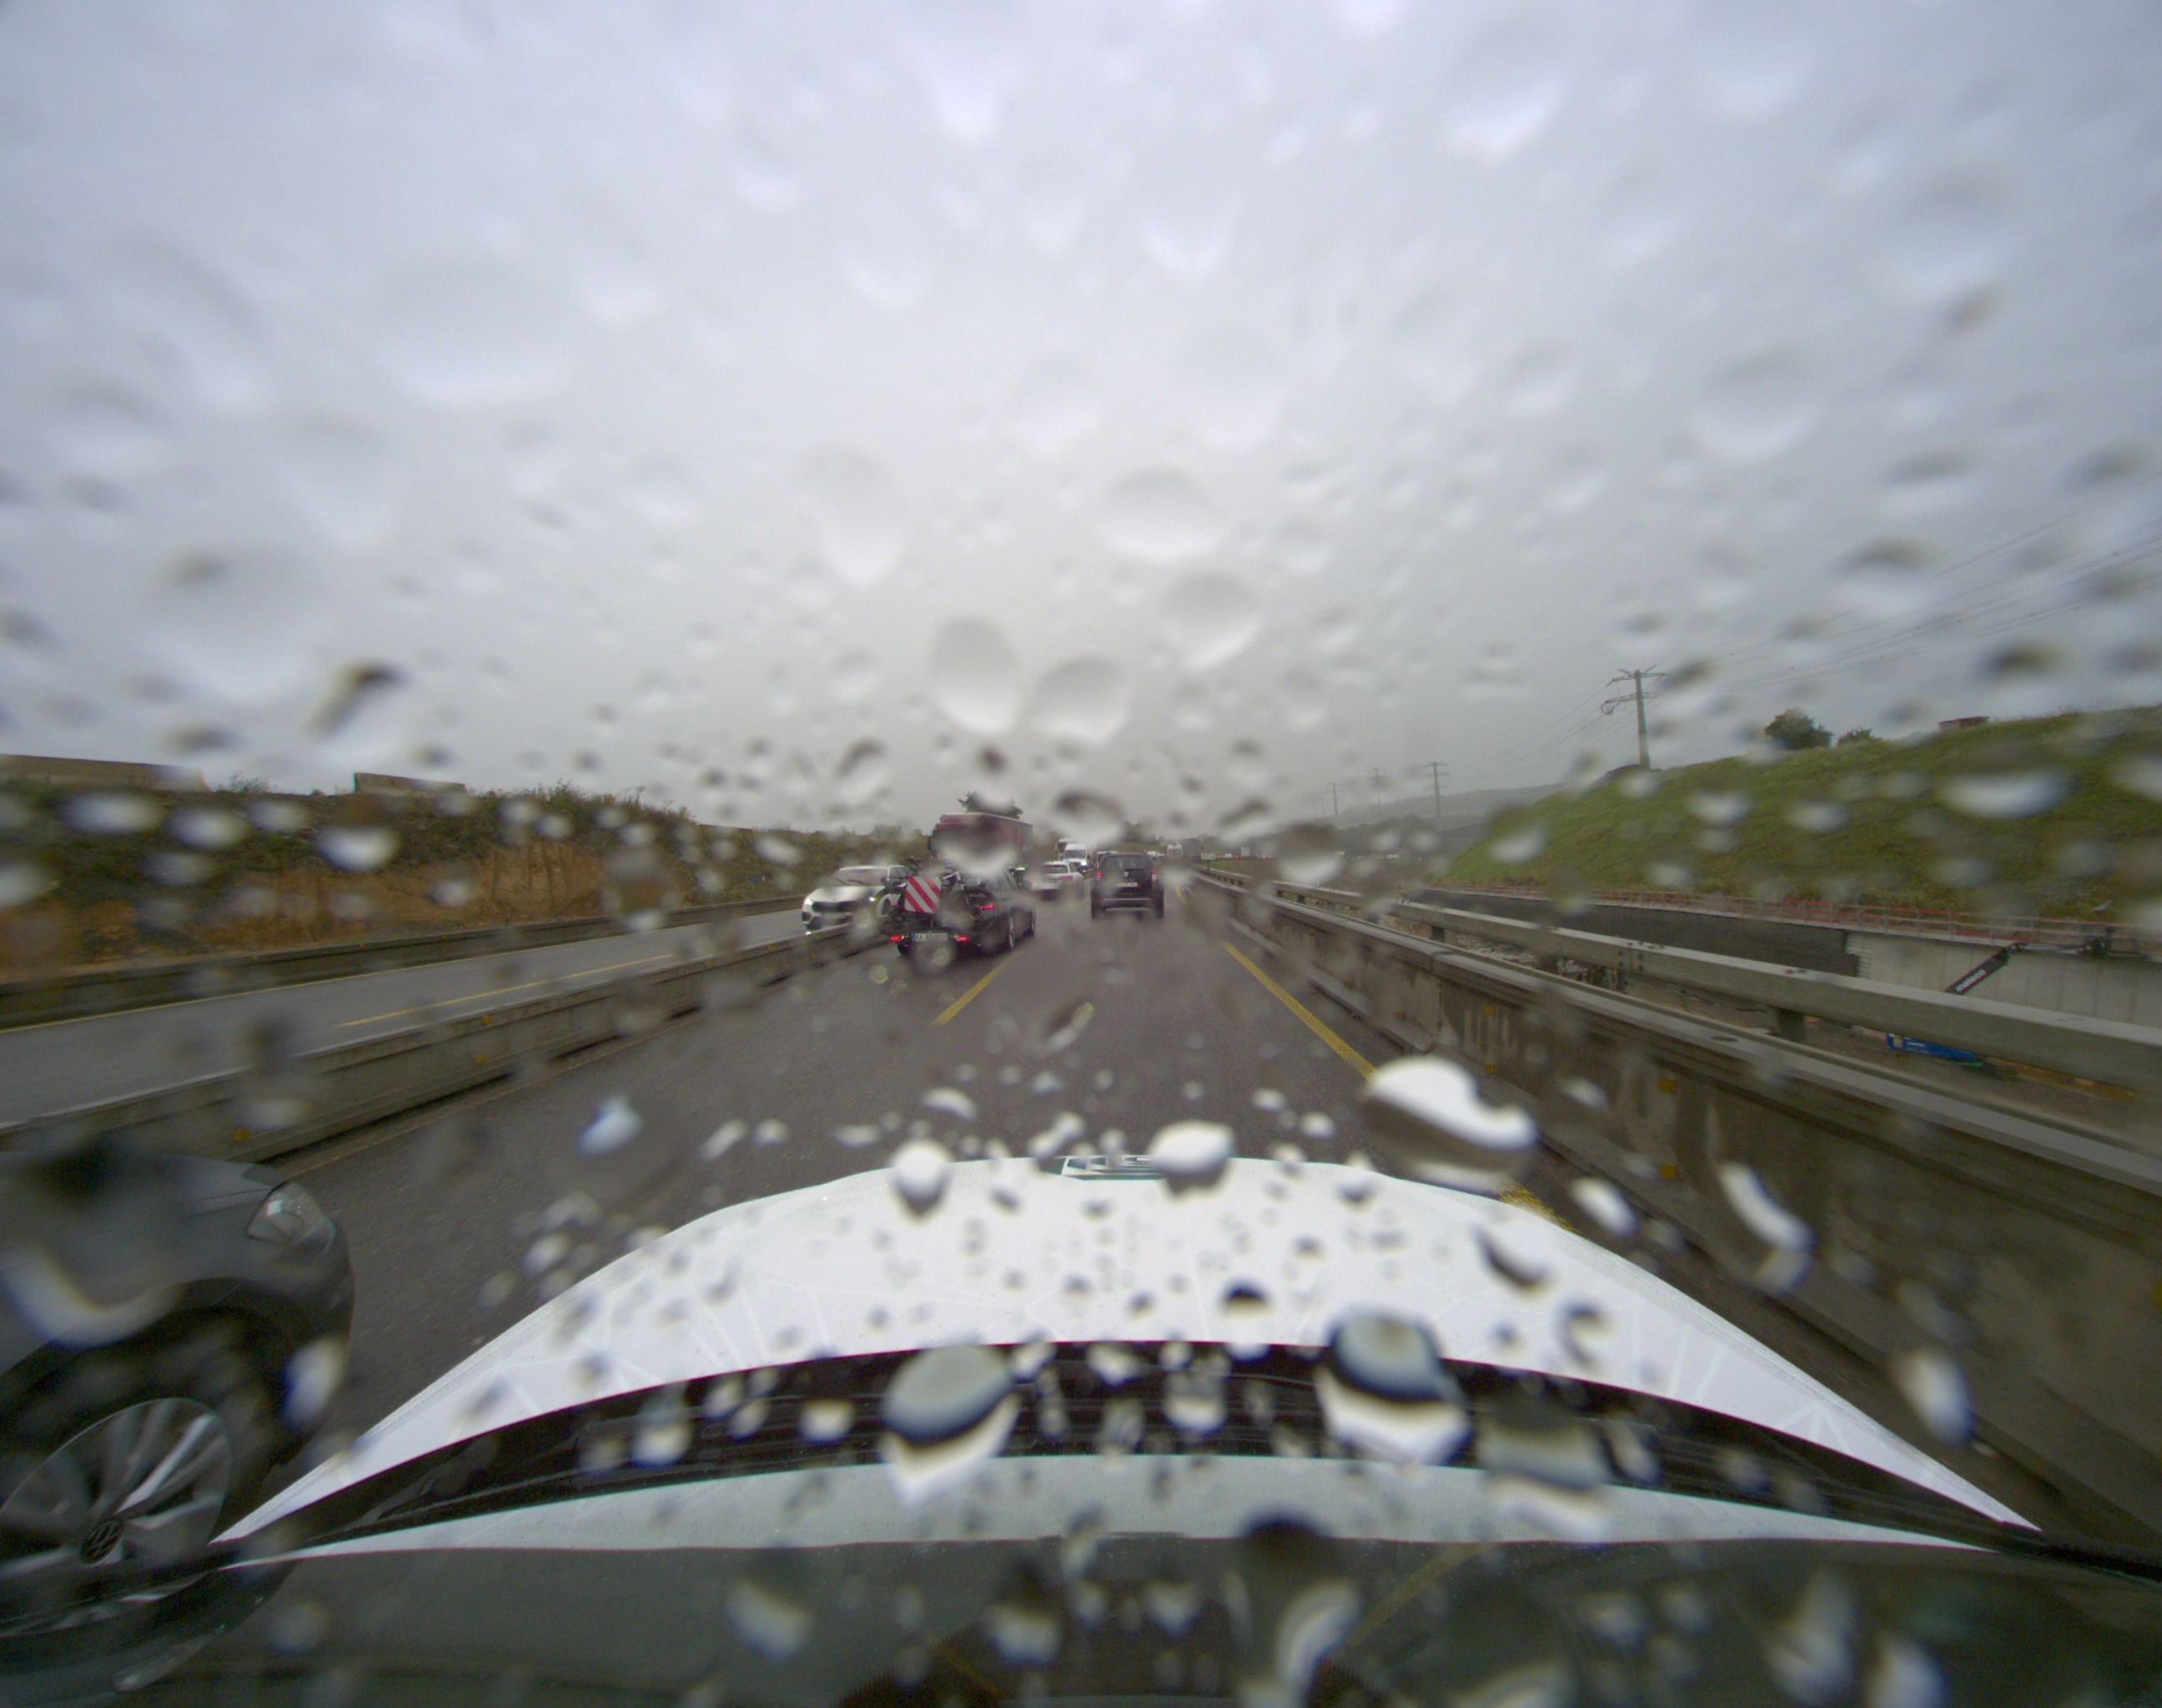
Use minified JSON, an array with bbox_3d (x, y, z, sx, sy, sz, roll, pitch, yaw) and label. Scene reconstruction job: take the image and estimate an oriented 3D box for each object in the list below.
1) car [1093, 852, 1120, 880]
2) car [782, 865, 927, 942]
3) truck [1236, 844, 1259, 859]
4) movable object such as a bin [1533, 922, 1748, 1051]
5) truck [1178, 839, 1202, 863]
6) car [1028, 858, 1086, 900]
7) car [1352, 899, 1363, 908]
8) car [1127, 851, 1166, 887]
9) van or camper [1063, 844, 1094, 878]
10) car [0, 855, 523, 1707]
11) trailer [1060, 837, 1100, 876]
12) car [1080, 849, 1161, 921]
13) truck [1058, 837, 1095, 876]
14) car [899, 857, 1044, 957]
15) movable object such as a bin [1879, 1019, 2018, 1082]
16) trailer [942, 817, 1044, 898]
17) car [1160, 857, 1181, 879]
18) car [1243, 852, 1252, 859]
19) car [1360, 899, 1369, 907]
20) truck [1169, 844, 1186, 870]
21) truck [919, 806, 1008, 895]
[{"bbox_3d":[1.829,0.808,56.750,1.652,1.880,4.024,-1,0,4],"label":"car"},{"bbox_3d":[-5.063,1.039,18.916,1.736,1.502,4.640,-1,0,4],"label":"car"},{"bbox_3d":[49.567,-0.781,242.260,4.679,4.150,15.757,-1,0,19],"label":"truck"},{"bbox_3d":[30.379,6.906,45.467,4.867,5.671,12.112,0,-3,7],"label":"movable object such as a bin"},{"bbox_3d":[17.800,-0.481,132.424,3.179,3.761,8.538,-1,0,13],"label":"truck"},{"bbox_3d":[-0.844,0.911,31.457,1.860,1.460,4.552,-1,0,3],"label":"car"},{"bbox_3d":[67.742,12.063,199.570,2.348,2.014,4.014,-1,0,13],"label":"car"},{"bbox_3d":[3.345,0.752,41.725,1.859,1.708,4.005,-1,0,4],"label":"car"},{"bbox_3d":[-0.168,0.550,66.148,2.270,2.614,5.831,-1,0,2],"label":"van or camper"},{"bbox_3d":[-2.592,0.788,0.269,1.608,1.506,4.370,-3,-1,2],"label":"car"},{"bbox_3d":[0.022,0.308,91.869,3.240,3.964,11.553,-2,-1,5],"label":"trailer"},{"bbox_3d":[1.105,0.753,21.017,1.795,1.646,3.783,-2,-1,6],"label":"car"},{"bbox_3d":[-0.431,0.278,86.778,3.216,3.955,5.889,-2,-1,5],"label":"truck"},{"bbox_3d":[-1.761,0.838,14.339,1.821,1.476,3.779,-2,-1,3],"label":"car"},{"bbox_3d":[36.996,8.356,34.848,2.507,1.911,3.258,0,-1,1],"label":"movable object such as a bin"},{"bbox_3d":[-5.371,0.143,53.854,2.979,4.421,15.733,-3,0,7],"label":"trailer"},{"bbox_3d":[6.813,1.046,61.963,1.522,1.640,4.020,-1,0,7],"label":"car"},{"bbox_3d":[45.086,0.378,220.466,1.761,1.916,4.017,-1,0,17],"label":"car"},{"bbox_3d":[75.338,13.071,216.479,1.978,1.816,4.016,-2,-1,15],"label":"car"},{"bbox_3d":[12.632,0.395,106.515,2.138,3.166,6.472,-1,0,7],"label":"truck"},{"bbox_3d":[-6.369,-0.203,45.366,2.964,4.409,6.945,-3,0,7],"label":"truck"}]
